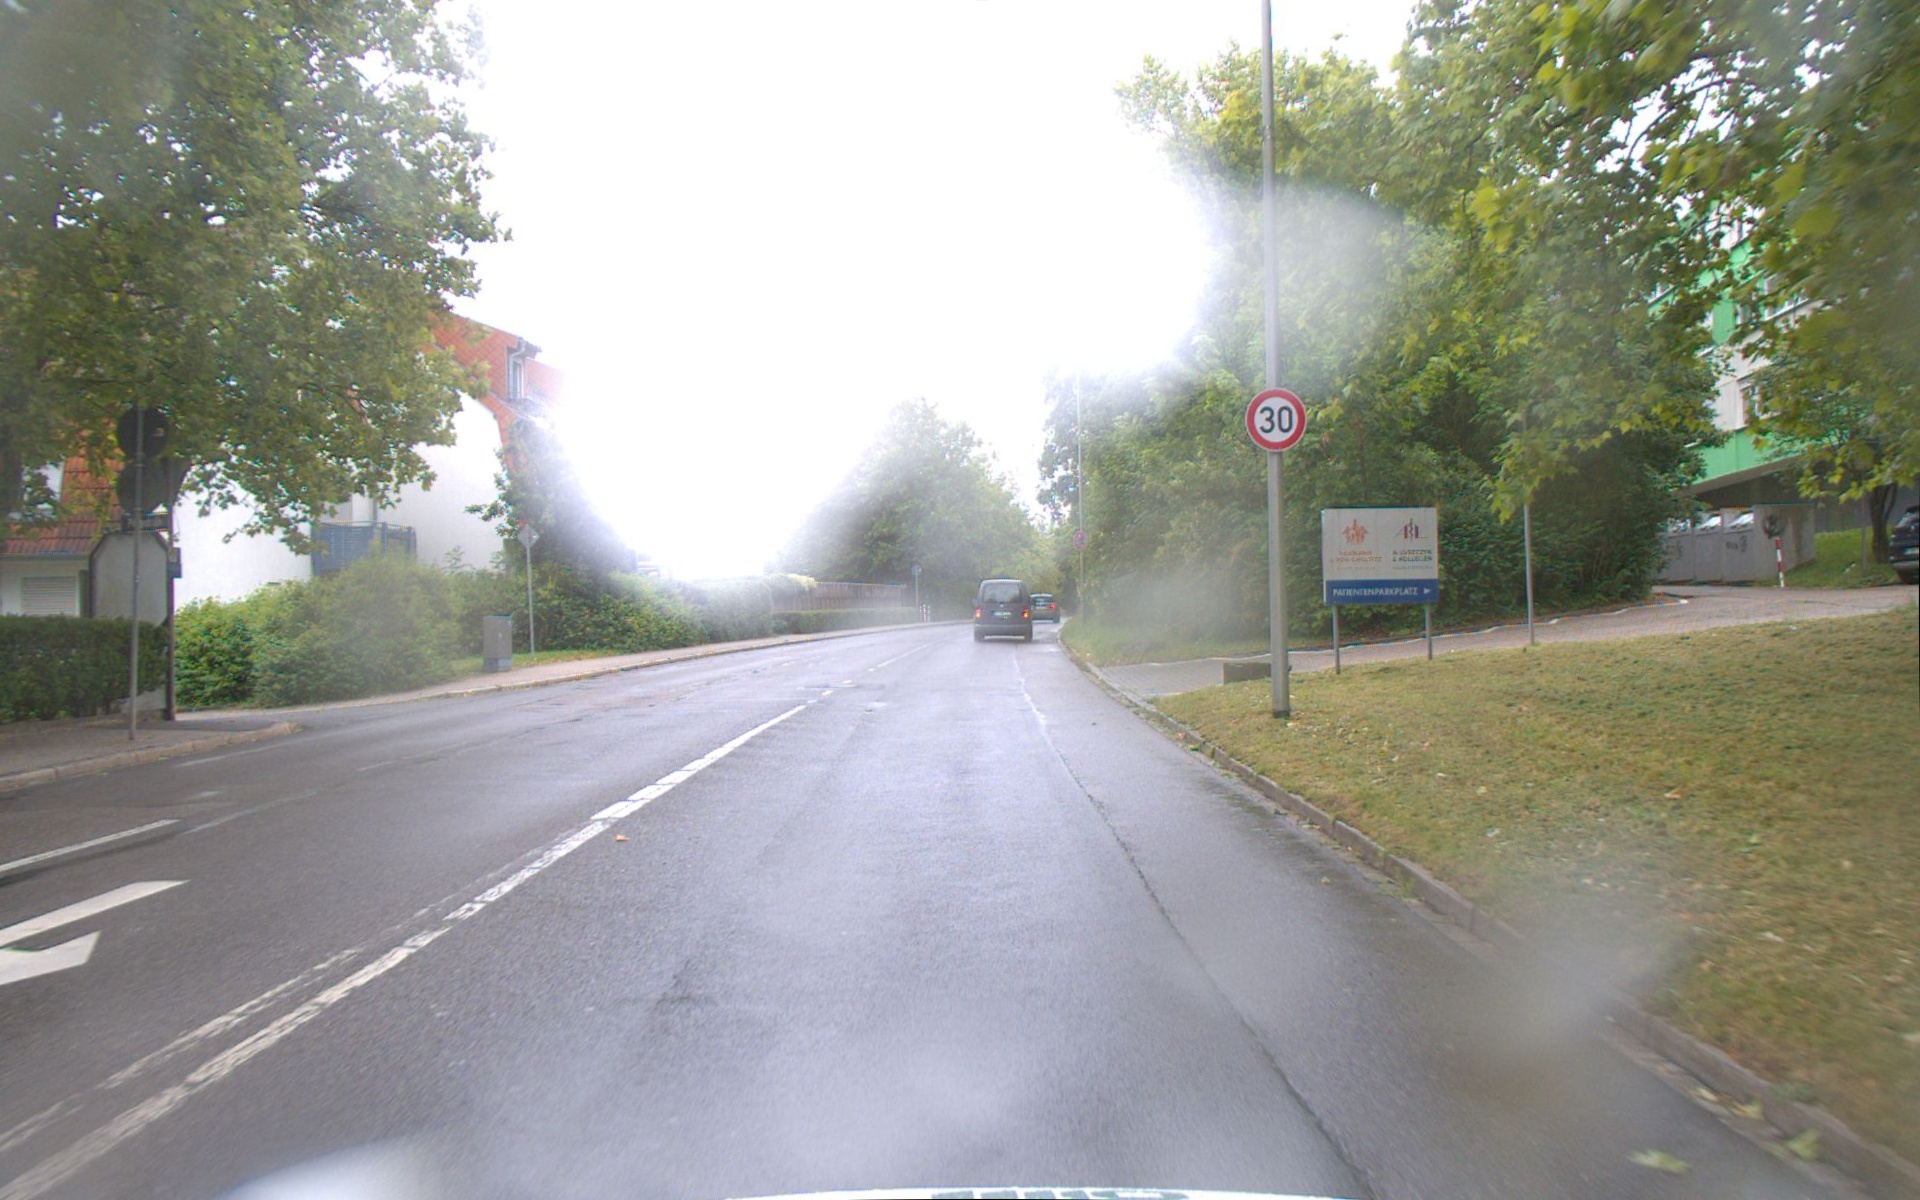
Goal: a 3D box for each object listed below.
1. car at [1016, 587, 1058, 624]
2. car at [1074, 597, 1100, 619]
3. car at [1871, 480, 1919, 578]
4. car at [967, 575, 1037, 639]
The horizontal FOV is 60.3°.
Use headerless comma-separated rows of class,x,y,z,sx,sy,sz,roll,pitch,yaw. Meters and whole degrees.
car,4.027,0.271,85.661,1.908,1.780,4.003,-1,1,6
car,10.560,0.645,137.701,1.952,1.780,4.001,2,0,1
car,19.467,-1.348,30.817,3.911,1.780,1.997,-1,0,-7
car,1.246,0.184,50.701,1.953,1.825,3.999,1,1,-1
